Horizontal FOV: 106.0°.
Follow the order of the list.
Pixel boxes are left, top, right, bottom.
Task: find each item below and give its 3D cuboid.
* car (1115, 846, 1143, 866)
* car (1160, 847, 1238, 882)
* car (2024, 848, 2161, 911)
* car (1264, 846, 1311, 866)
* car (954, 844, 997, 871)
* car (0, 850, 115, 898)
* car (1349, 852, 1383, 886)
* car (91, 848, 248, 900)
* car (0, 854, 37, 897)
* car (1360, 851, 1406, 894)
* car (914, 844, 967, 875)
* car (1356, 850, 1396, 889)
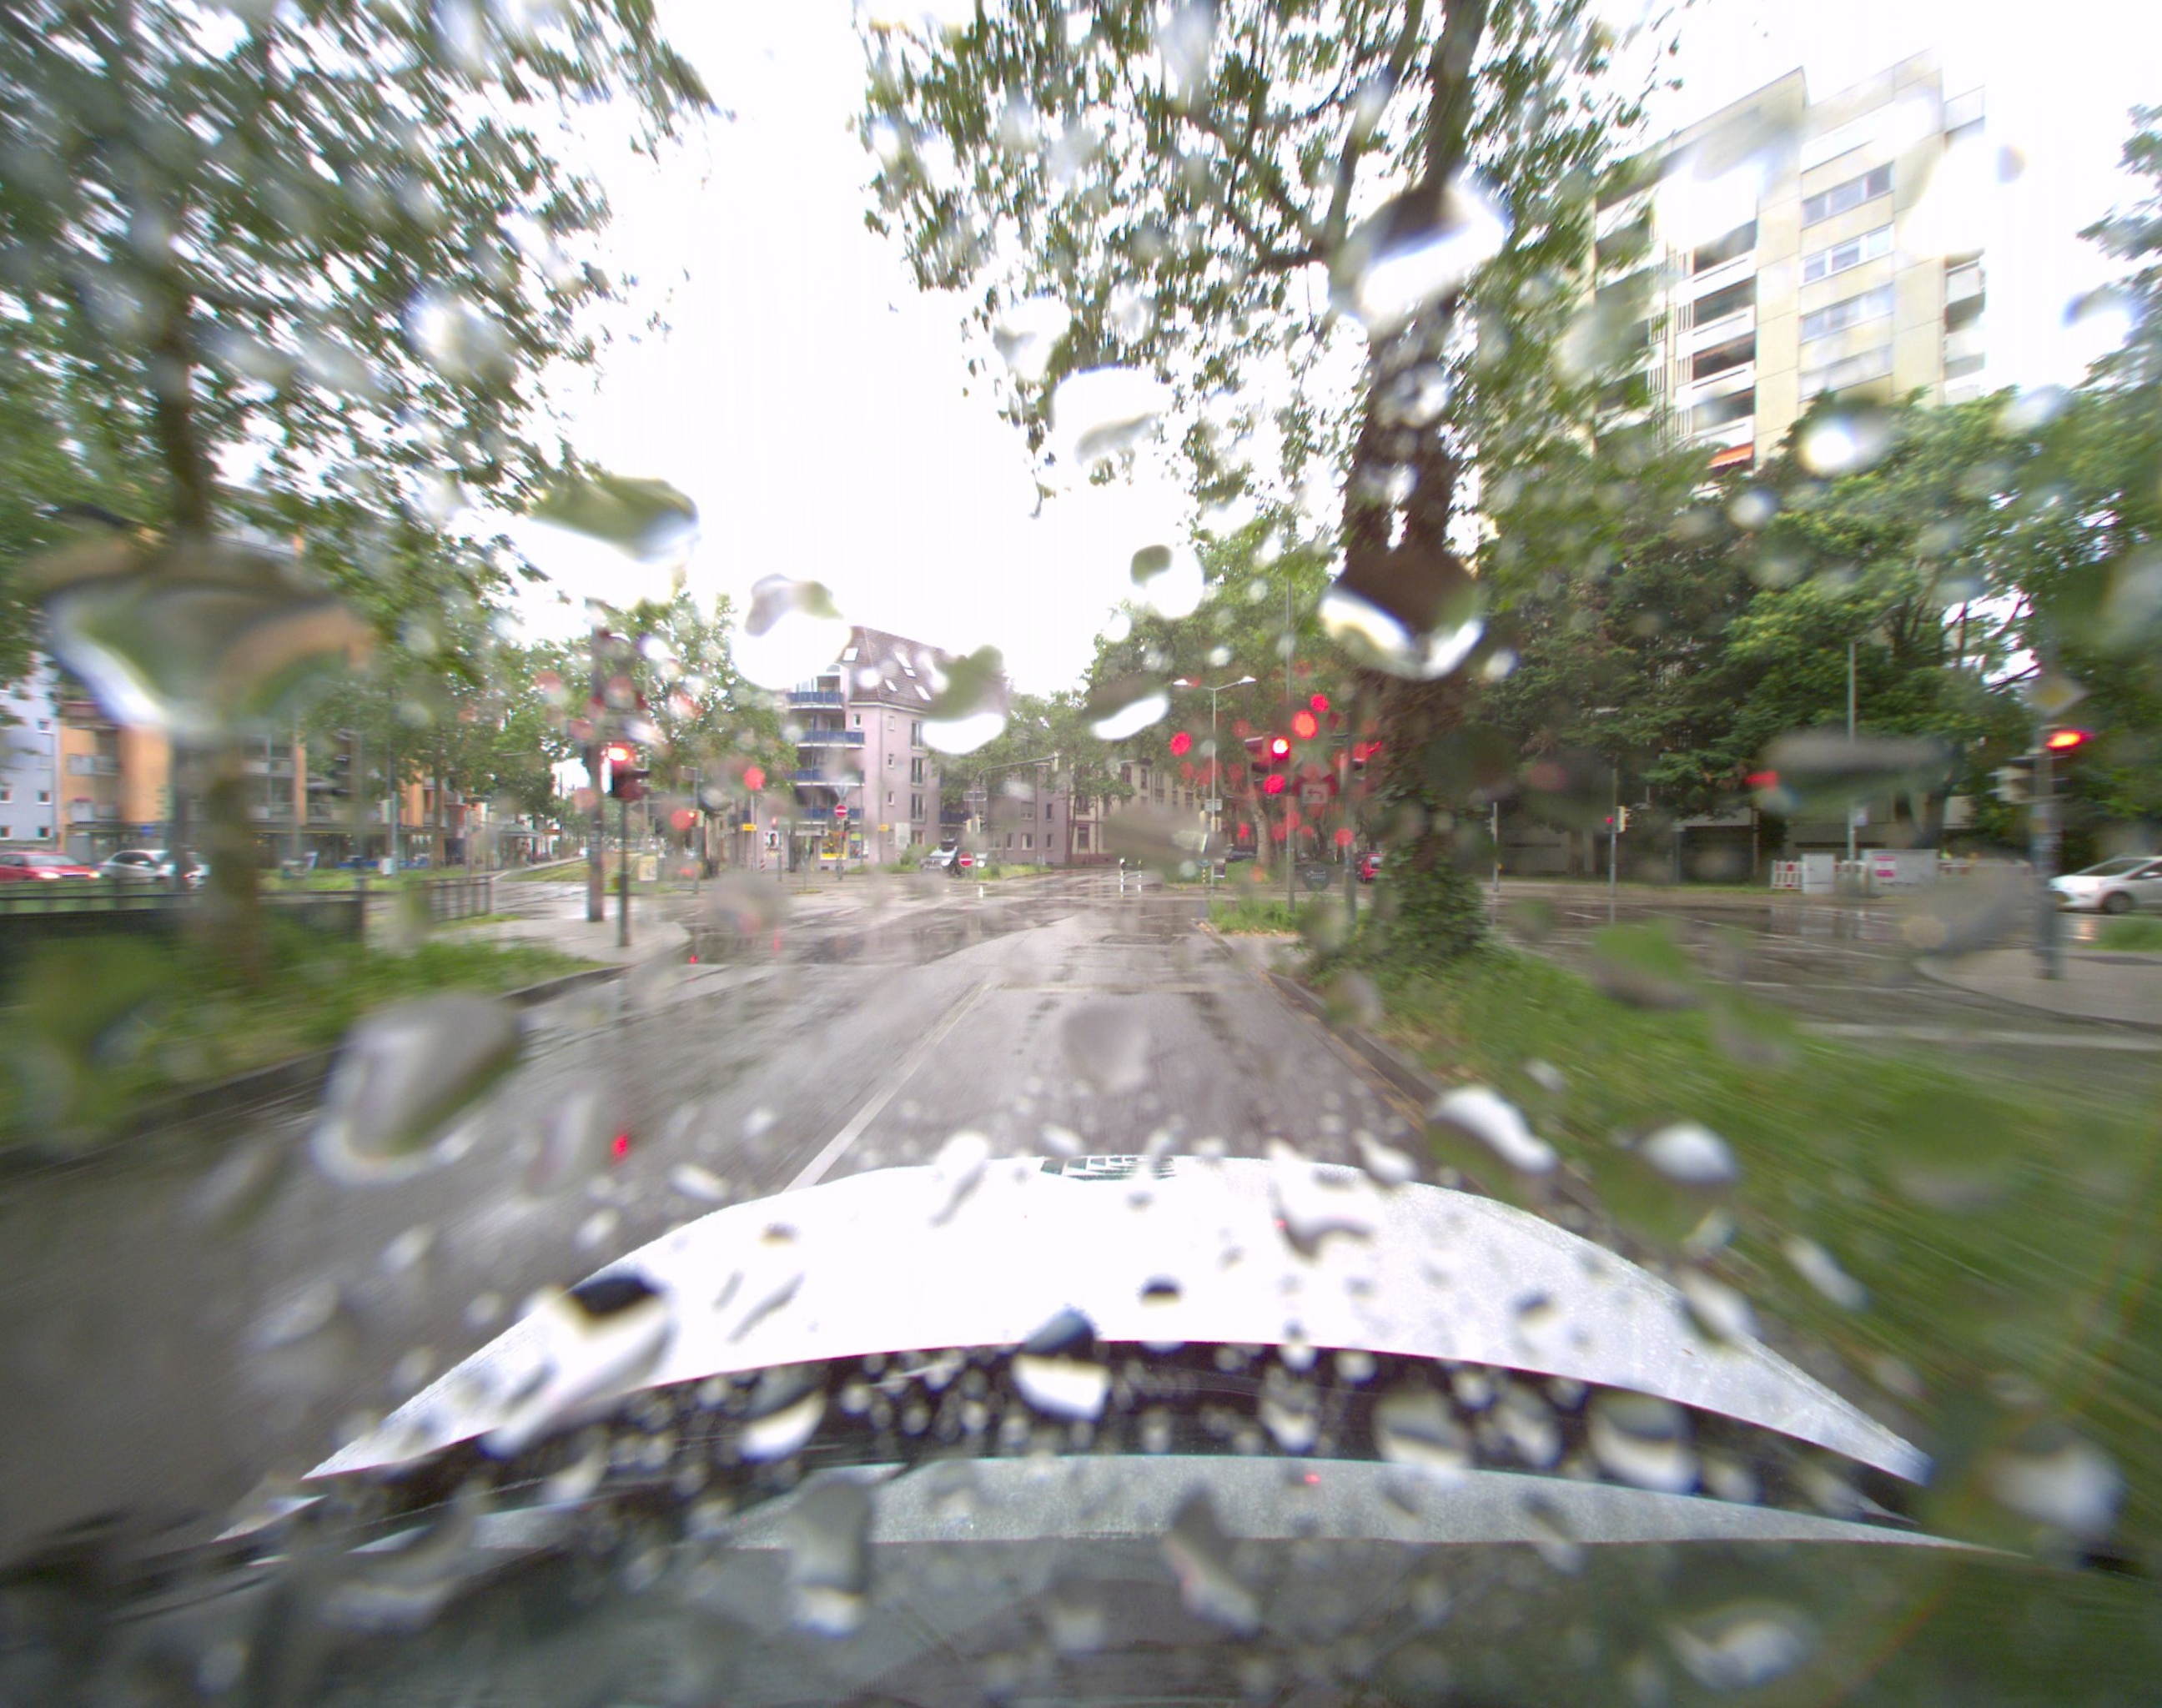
[{"bbox_3d":[3.869,0.138,64.693,1.591,1.552,3.573,-2,1,13],"label":"car"},{"bbox_3d":[5.499,0.473,37.841,3.457,1.523,1.524,-2,0,11],"label":"car"},{"bbox_3d":[27.110,0.634,20.763,3.611,1.486,1.733,-1,0,19],"label":"car"},{"bbox_3d":[17.743,0.212,70.078,3.571,1.618,1.692,-1,0,30],"label":"car"},{"bbox_3d":[-6.437,0.197,50.080,1.715,1.552,3.568,-2,1,8],"label":"car"},{"bbox_3d":[-38.232,0.740,30.081,3.754,1.639,1.731,-2,0,14],"label":"car"},{"bbox_3d":[18.306,0.945,52.400,1.977,2.013,4.019,-1,1,18],"label":"car"},{"bbox_3d":[-31.999,0.683,28.633,3.977,1.651,1.980,-2,0,14],"label":"car"},{"bbox_3d":[-43.628,0.900,32.026,3.754,1.639,1.731,-2,0,14],"label":"car"},{"bbox_3d":[15.148,0.888,41.030,1.977,2.013,4.019,-1,1,18],"label":"car"},{"bbox_3d":[-7.561,0.289,44.100,1.715,1.552,3.568,-2,1,8],"label":"car"},{"bbox_3d":[16.426,0.807,45.500,1.977,2.013,4.019,-1,1,18],"label":"car"}]
